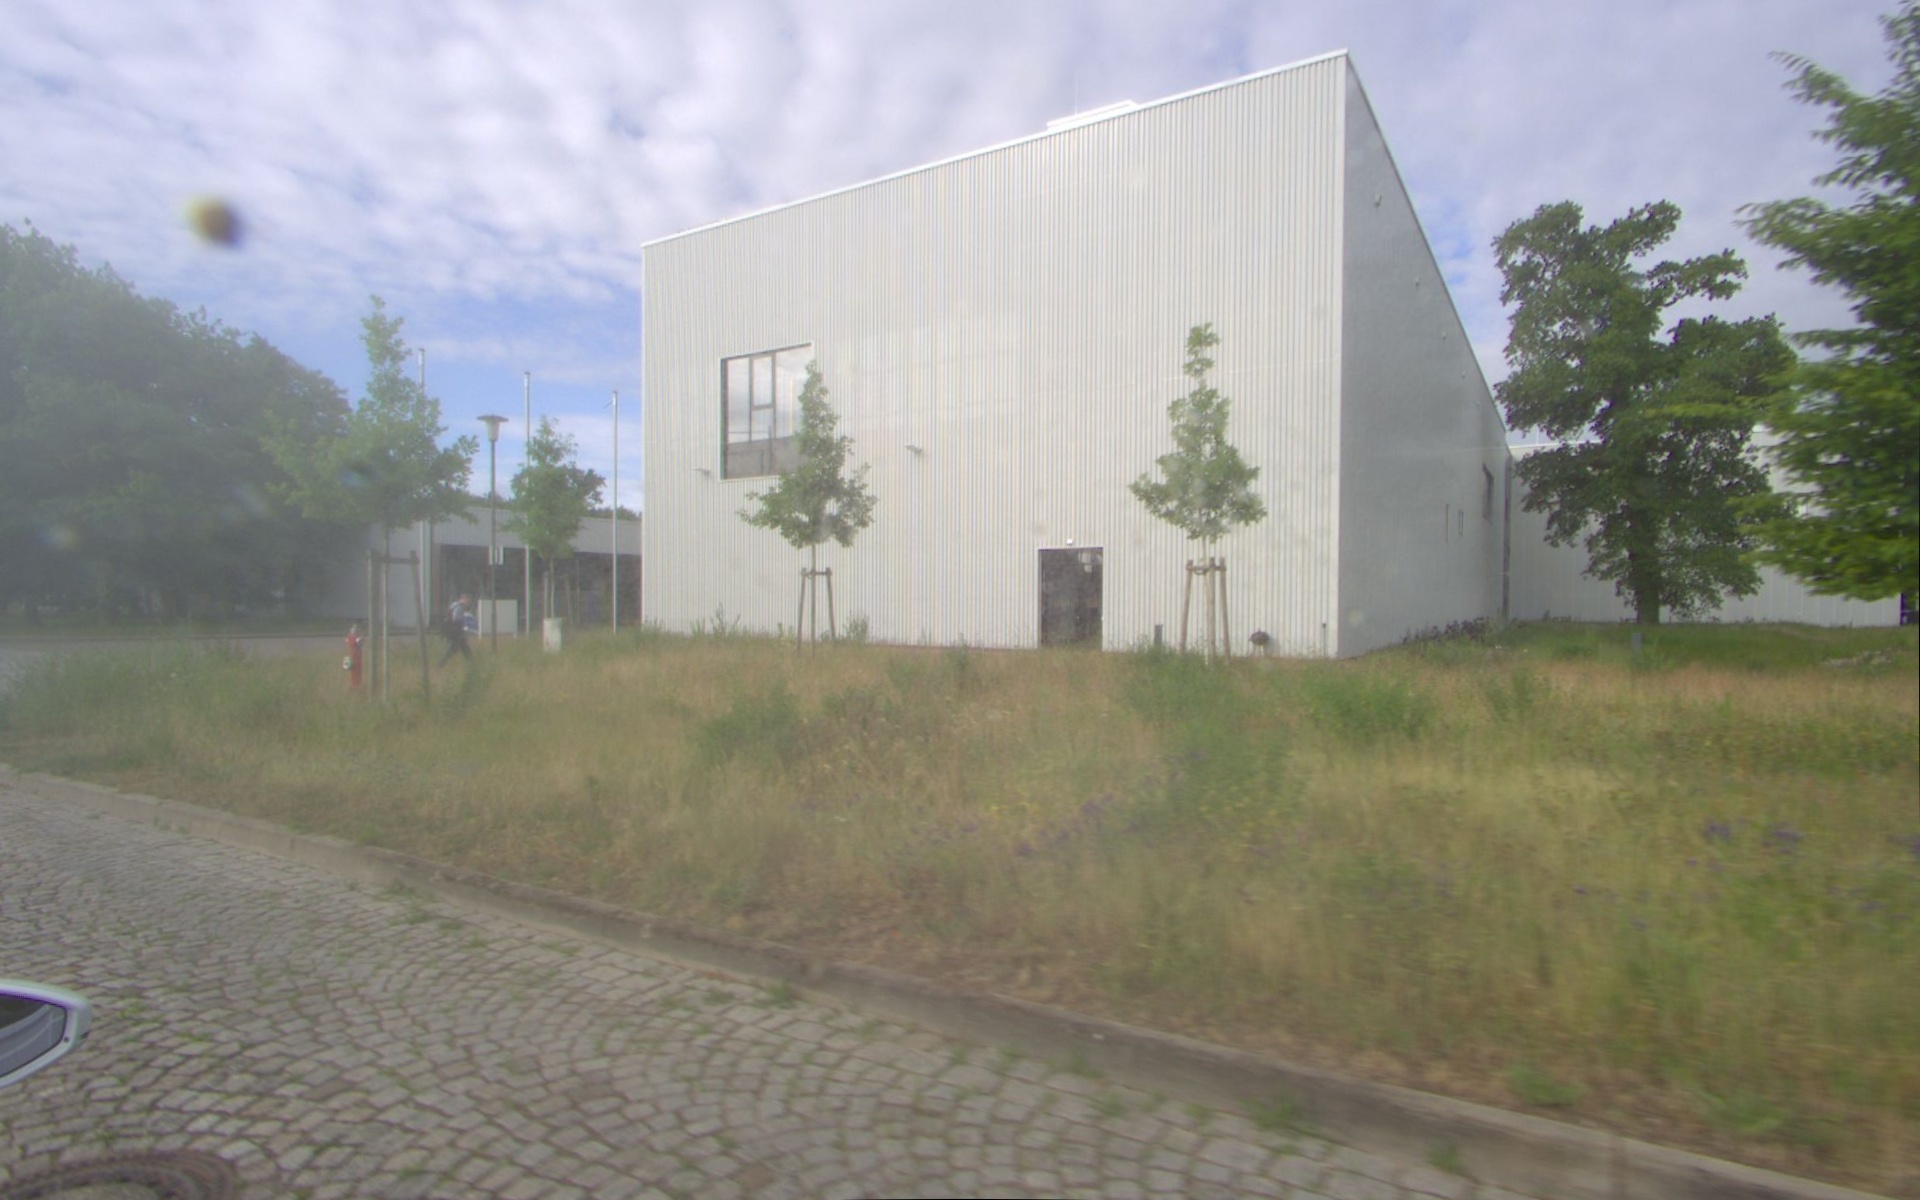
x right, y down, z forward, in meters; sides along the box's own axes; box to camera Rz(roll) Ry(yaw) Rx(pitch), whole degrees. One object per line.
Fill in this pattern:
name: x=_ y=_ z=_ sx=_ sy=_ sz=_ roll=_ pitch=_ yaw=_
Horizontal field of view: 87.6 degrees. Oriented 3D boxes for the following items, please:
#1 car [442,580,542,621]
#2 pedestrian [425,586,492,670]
car: x=-24.365 y=0.028 z=52.073 sx=5.258 sy=2.040 sz=2.237 roll=0 pitch=1 yaw=32
pedestrian: x=-9.795 y=0.526 z=19.544 sx=1.064 sy=1.577 sz=1.068 roll=0 pitch=1 yaw=-34
